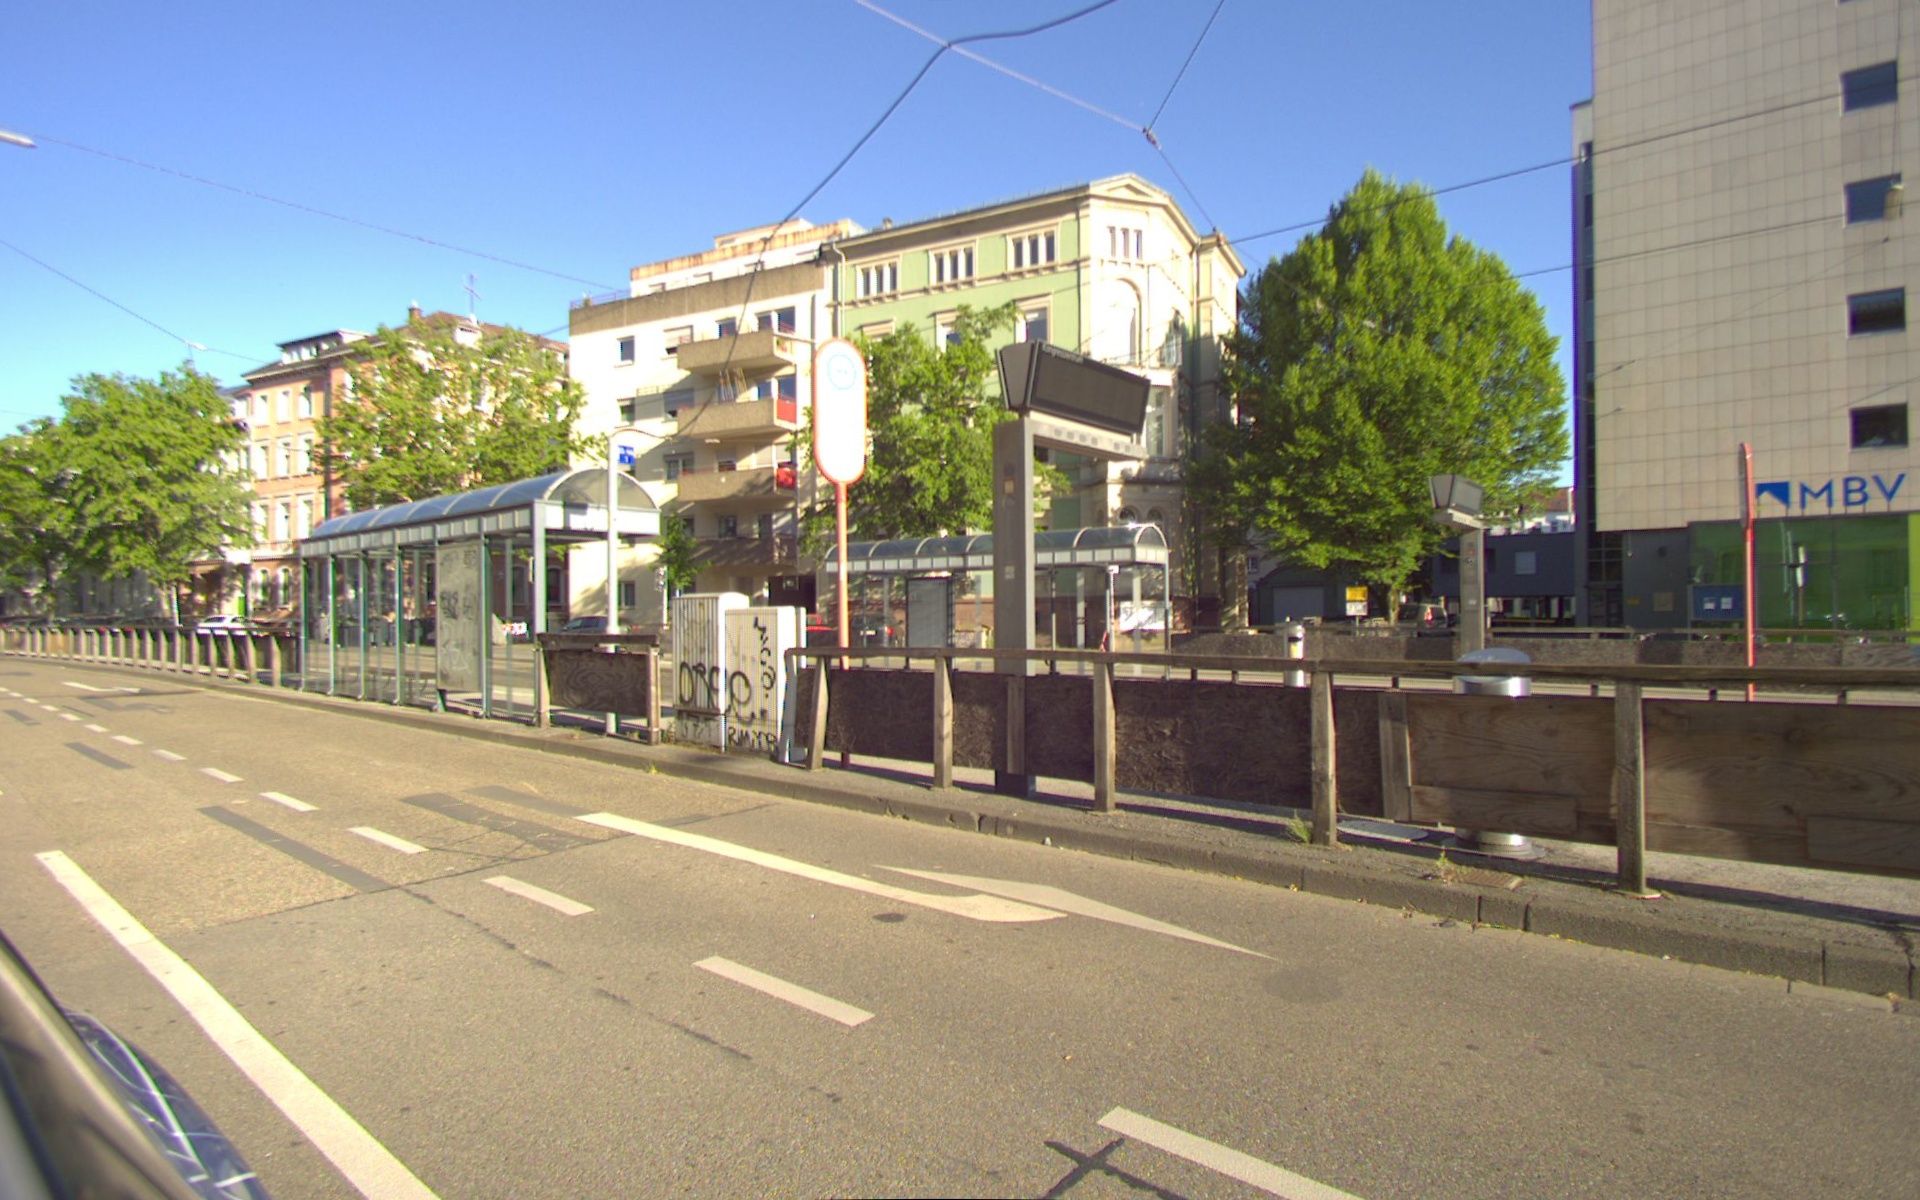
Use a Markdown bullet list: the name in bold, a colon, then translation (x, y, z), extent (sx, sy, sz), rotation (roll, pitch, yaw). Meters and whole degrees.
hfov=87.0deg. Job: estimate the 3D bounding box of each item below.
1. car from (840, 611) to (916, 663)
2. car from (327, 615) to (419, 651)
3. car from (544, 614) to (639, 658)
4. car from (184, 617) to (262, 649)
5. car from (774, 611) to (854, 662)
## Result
- **car**: translation (-2.654, 1.185, 33.369), extent (1.614, 1.579, 3.588), rotation (-1, 0, 11)
- **car**: translation (-28.405, 1.559, 49.053), extent (1.626, 1.579, 3.560), rotation (-1, 0, 33)
- **car**: translation (-14.039, 1.333, 38.517), extent (3.592, 1.579, 1.612), rotation (-1, 0, 35)
- **car**: translation (-39.405, 1.740, 54.211), extent (1.607, 1.579, 3.601), rotation (-1, 0, -2)
- **car**: translation (-4.927, 1.214, 34.565), extent (1.614, 1.579, 3.588), rotation (-1, 0, 11)
